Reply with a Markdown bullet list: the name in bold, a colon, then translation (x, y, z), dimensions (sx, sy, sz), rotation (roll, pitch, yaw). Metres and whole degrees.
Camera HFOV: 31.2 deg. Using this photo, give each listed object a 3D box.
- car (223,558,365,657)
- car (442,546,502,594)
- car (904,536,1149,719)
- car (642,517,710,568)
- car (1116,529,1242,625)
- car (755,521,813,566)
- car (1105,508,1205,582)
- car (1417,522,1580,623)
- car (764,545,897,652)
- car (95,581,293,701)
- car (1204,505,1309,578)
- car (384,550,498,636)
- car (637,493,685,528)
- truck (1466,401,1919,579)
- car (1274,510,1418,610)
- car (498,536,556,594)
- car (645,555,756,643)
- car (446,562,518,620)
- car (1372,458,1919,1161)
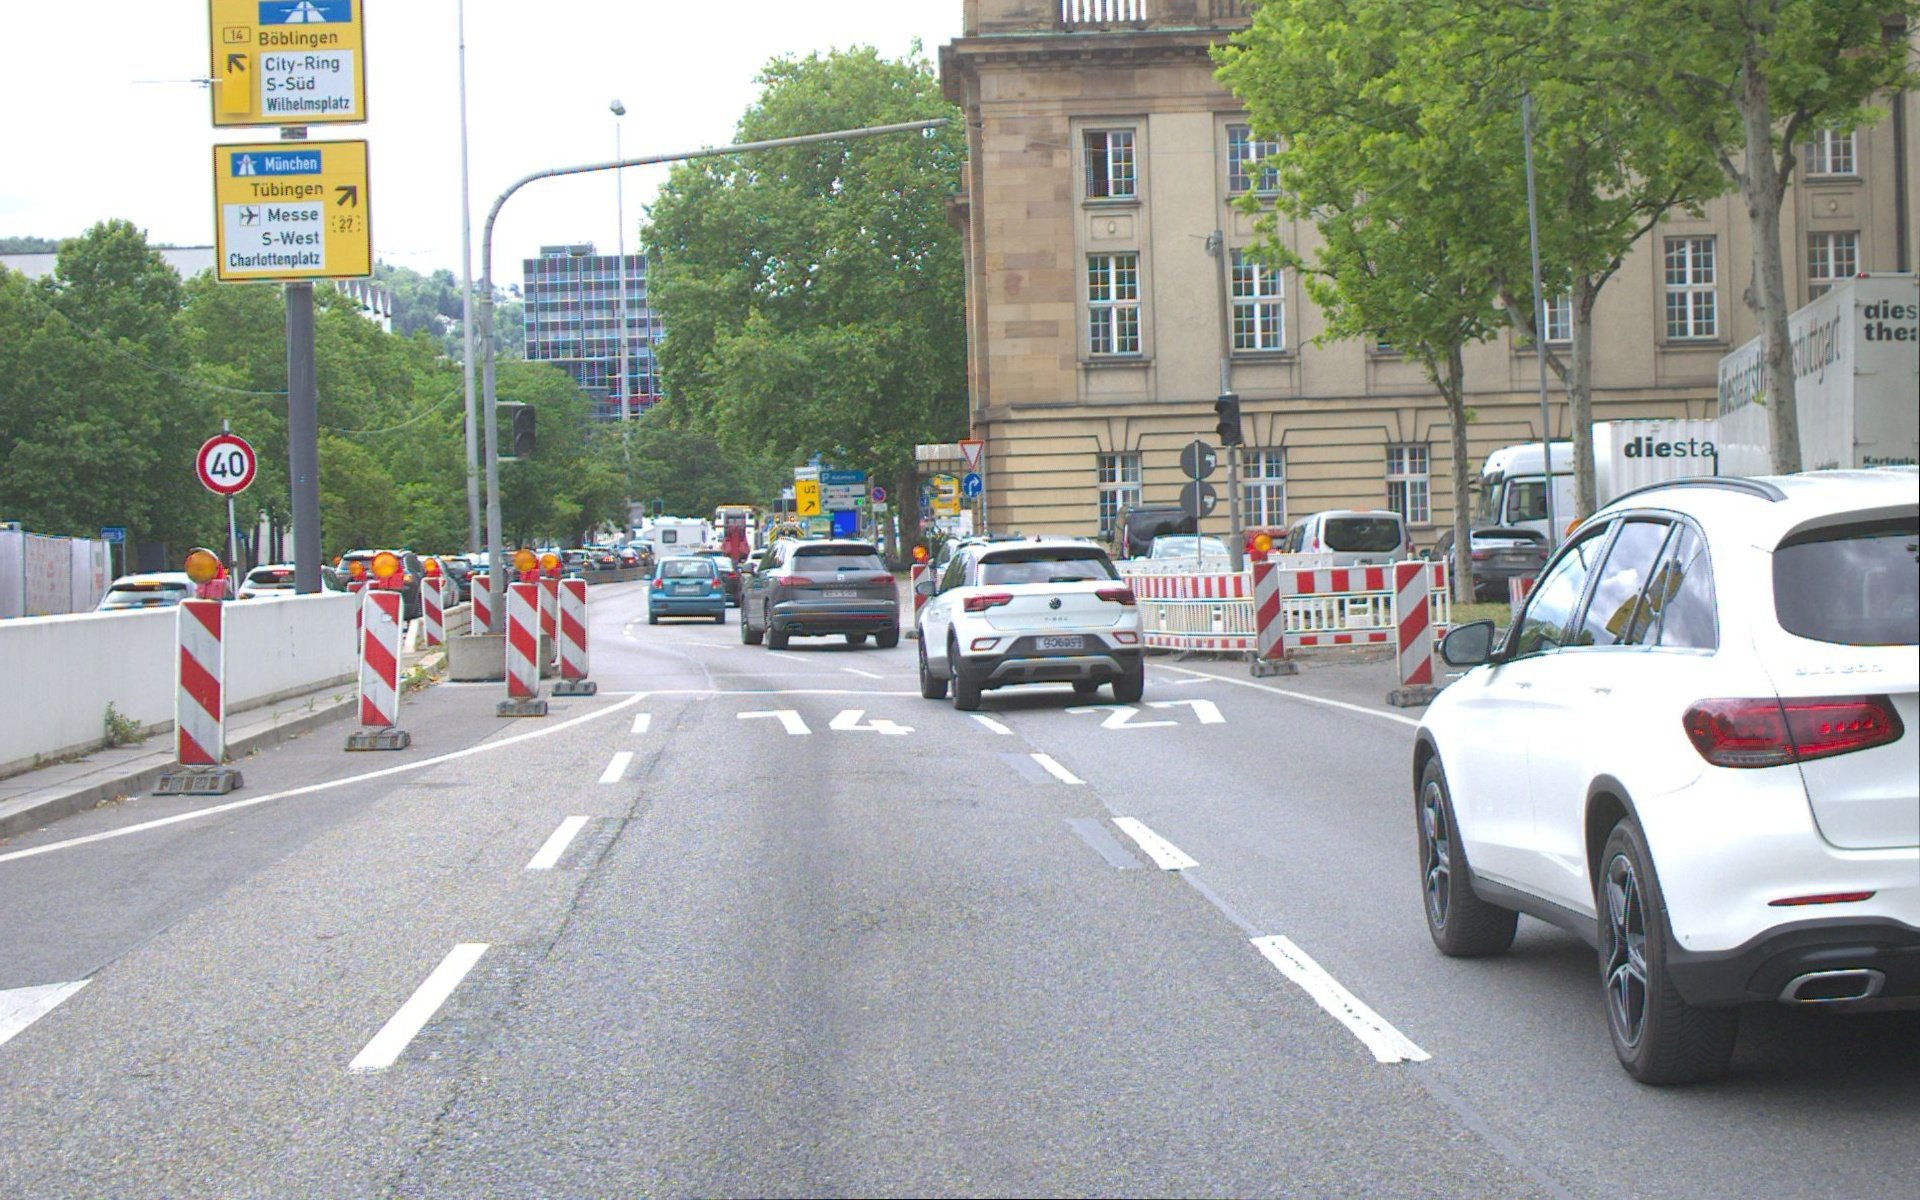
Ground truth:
- **car**: translation (-11.141, 0.098, 57.665), dimensions (1.750, 1.562, 3.377), rotation (-1, 1, -1)
- **car**: translation (-16.704, -1.014, 117.818), dimensions (1.750, 1.562, 4.332), rotation (-2, 1, -5)
- **car**: translation (0.572, 0.216, 33.489), dimensions (1.750, 1.562, 4.332), rotation (-4, 1, -6)
- **car**: translation (-13.956, -2.856, 169.026), dimensions (2.582, 2.366, 5.526), rotation (-2, 1, 2)
- **car**: translation (3.767, -0.387, 59.708), dimensions (1.750, 1.562, 4.331), rotation (-1, 0, -2)
- **car**: translation (-9.626, -3.117, 188.279), dimensions (2.582, 2.366, 5.526), rotation (-2, 1, 2)
- **car**: translation (4.381, -1.216, 77.749), dimensions (1.856, 1.562, 4.331), rotation (-1, 0, -2)
- **car**: translation (8.875, -0.442, 56.993), dimensions (1.856, 1.562, 4.331), rotation (-1, 0, -2)
- **car**: translation (-2.030, -0.050, 52.657), dimensions (1.823, 1.562, 4.480), rotation (0, 1, -5)
- **car**: translation (-10.756, 0.541, 48.565), dimensions (1.750, 1.562, 4.331), rotation (-2, 1, 1)
- **car**: translation (6.705, -1.312, 78.213), dimensions (1.856, 1.562, 4.331), rotation (-1, 0, -2)
- **car**: translation (-10.417, -0.165, 69.200), dimensions (1.750, 1.562, 3.377), rotation (-4, 1, -1)
- **car**: translation (-21.145, -6.321, 243.262), dimensions (2.582, 2.366, 5.526), rotation (-2, 1, 2)
- **truck**: translation (14.892, -2.105, 65.482), dimensions (10.029, 3.040, 2.569), rotation (-2, 0, -1)
- **car**: translation (6.406, -0.644, 57.418), dimensions (1.750, 1.562, 4.331), rotation (-1, 0, -2)
- **car**: translation (-16.504, -1.343, 131.170), dimensions (1.993, 2.006, 4.001), rotation (-2, 3, -5)
- **car**: translation (-5.623, -0.043, 74.990), dimensions (1.823, 1.734, 4.480), rotation (-2, 1, 2)
- **car**: translation (-13.524, -0.263, 97.388), dimensions (1.750, 1.562, 4.332), rotation (-2, 1, -5)
- **car**: translation (2.578, 0.423, 10.640), dimensions (1.811, 1.637, 4.552), rotation (-5, 1, -2)
